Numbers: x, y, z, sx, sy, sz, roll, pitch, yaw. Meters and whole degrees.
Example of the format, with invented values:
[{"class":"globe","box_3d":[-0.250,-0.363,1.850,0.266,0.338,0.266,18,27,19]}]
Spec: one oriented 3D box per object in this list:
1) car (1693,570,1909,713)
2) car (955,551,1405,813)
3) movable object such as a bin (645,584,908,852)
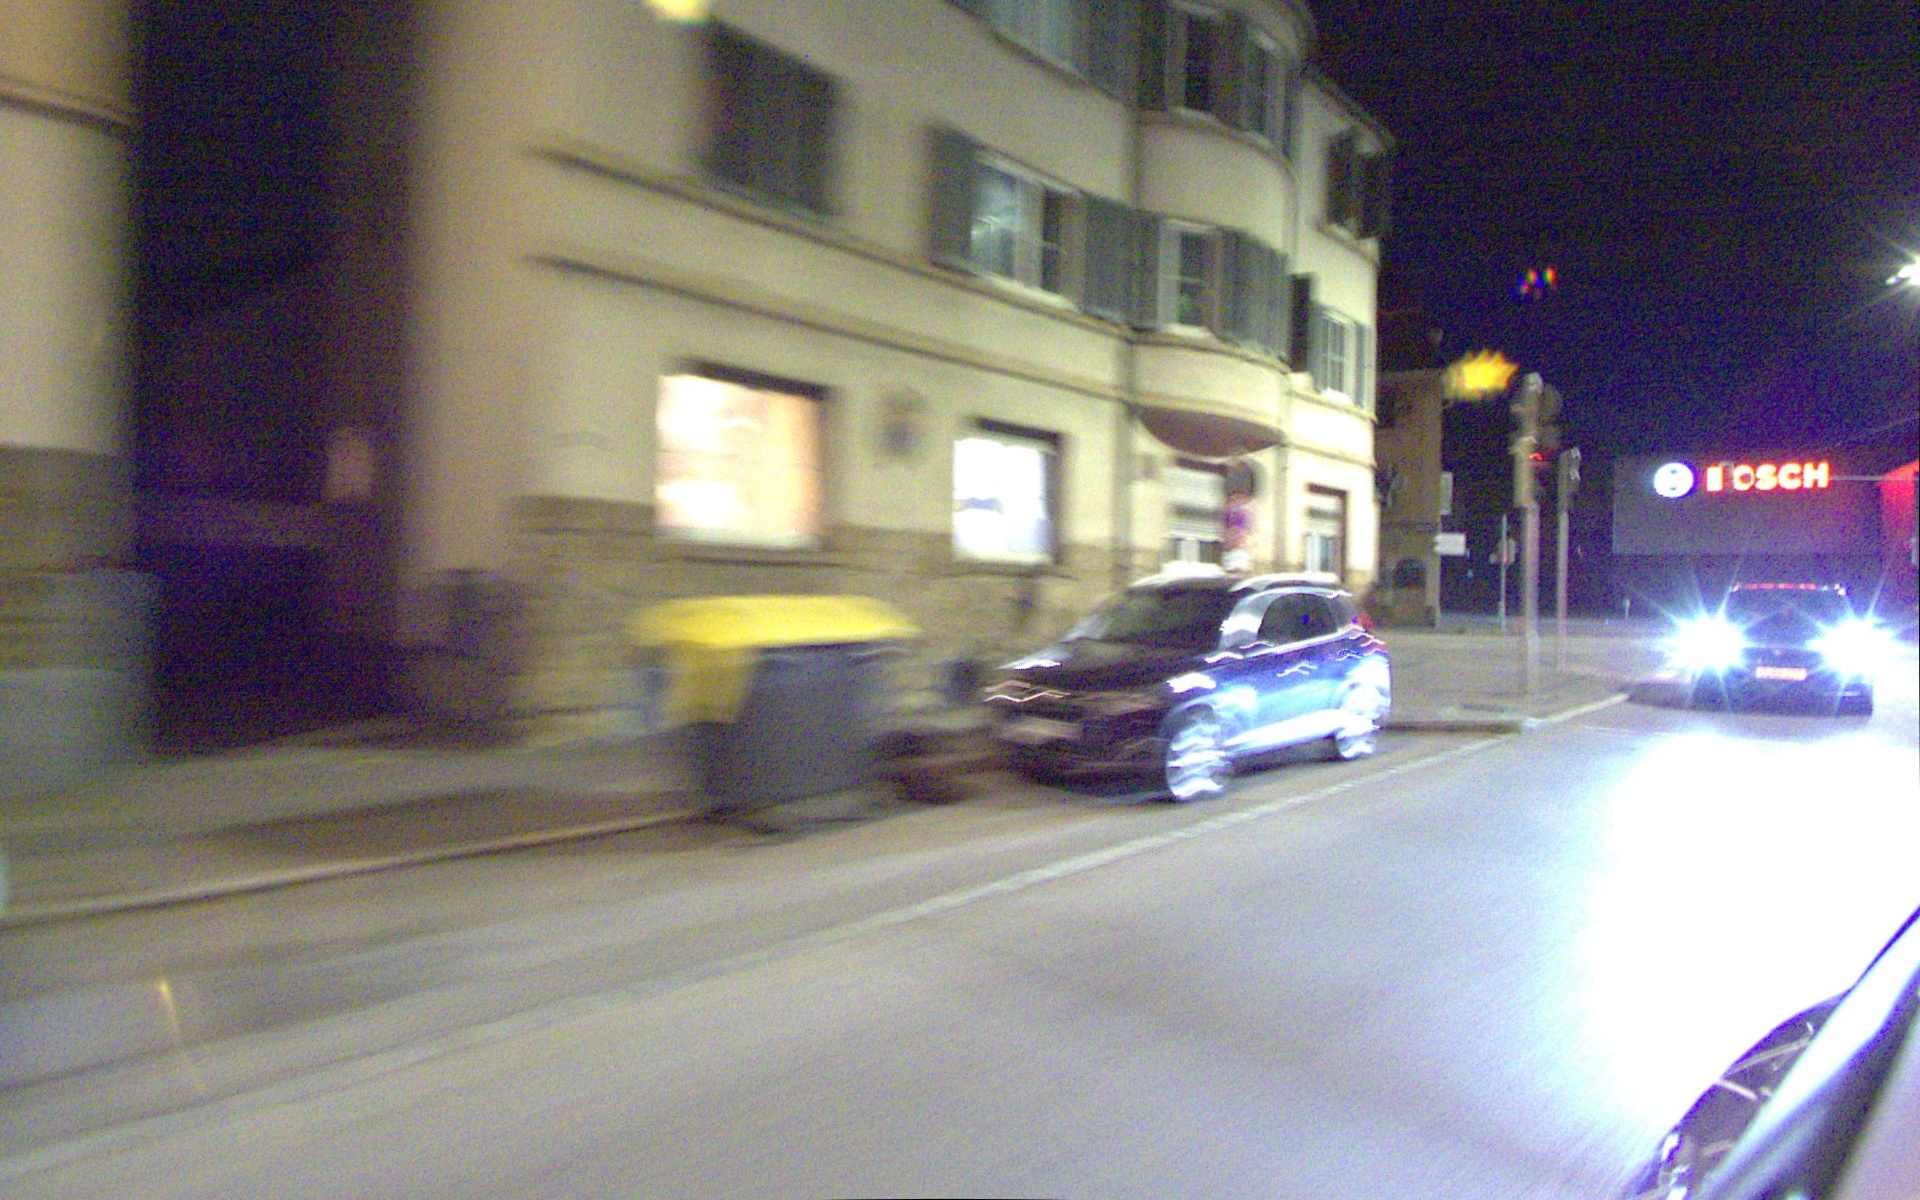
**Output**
[{"class":"car","box_3d":[11.364,0.452,13.805,1.990,1.636,3.943,1,1,39]},{"class":"car","box_3d":[2.071,0.482,8.698,4.188,1.703,1.745,-1,2,-44]},{"class":"movable object such as a bin","box_3d":[-1.139,0.640,6.377,0.937,1.449,1.318,3,2,44]}]
